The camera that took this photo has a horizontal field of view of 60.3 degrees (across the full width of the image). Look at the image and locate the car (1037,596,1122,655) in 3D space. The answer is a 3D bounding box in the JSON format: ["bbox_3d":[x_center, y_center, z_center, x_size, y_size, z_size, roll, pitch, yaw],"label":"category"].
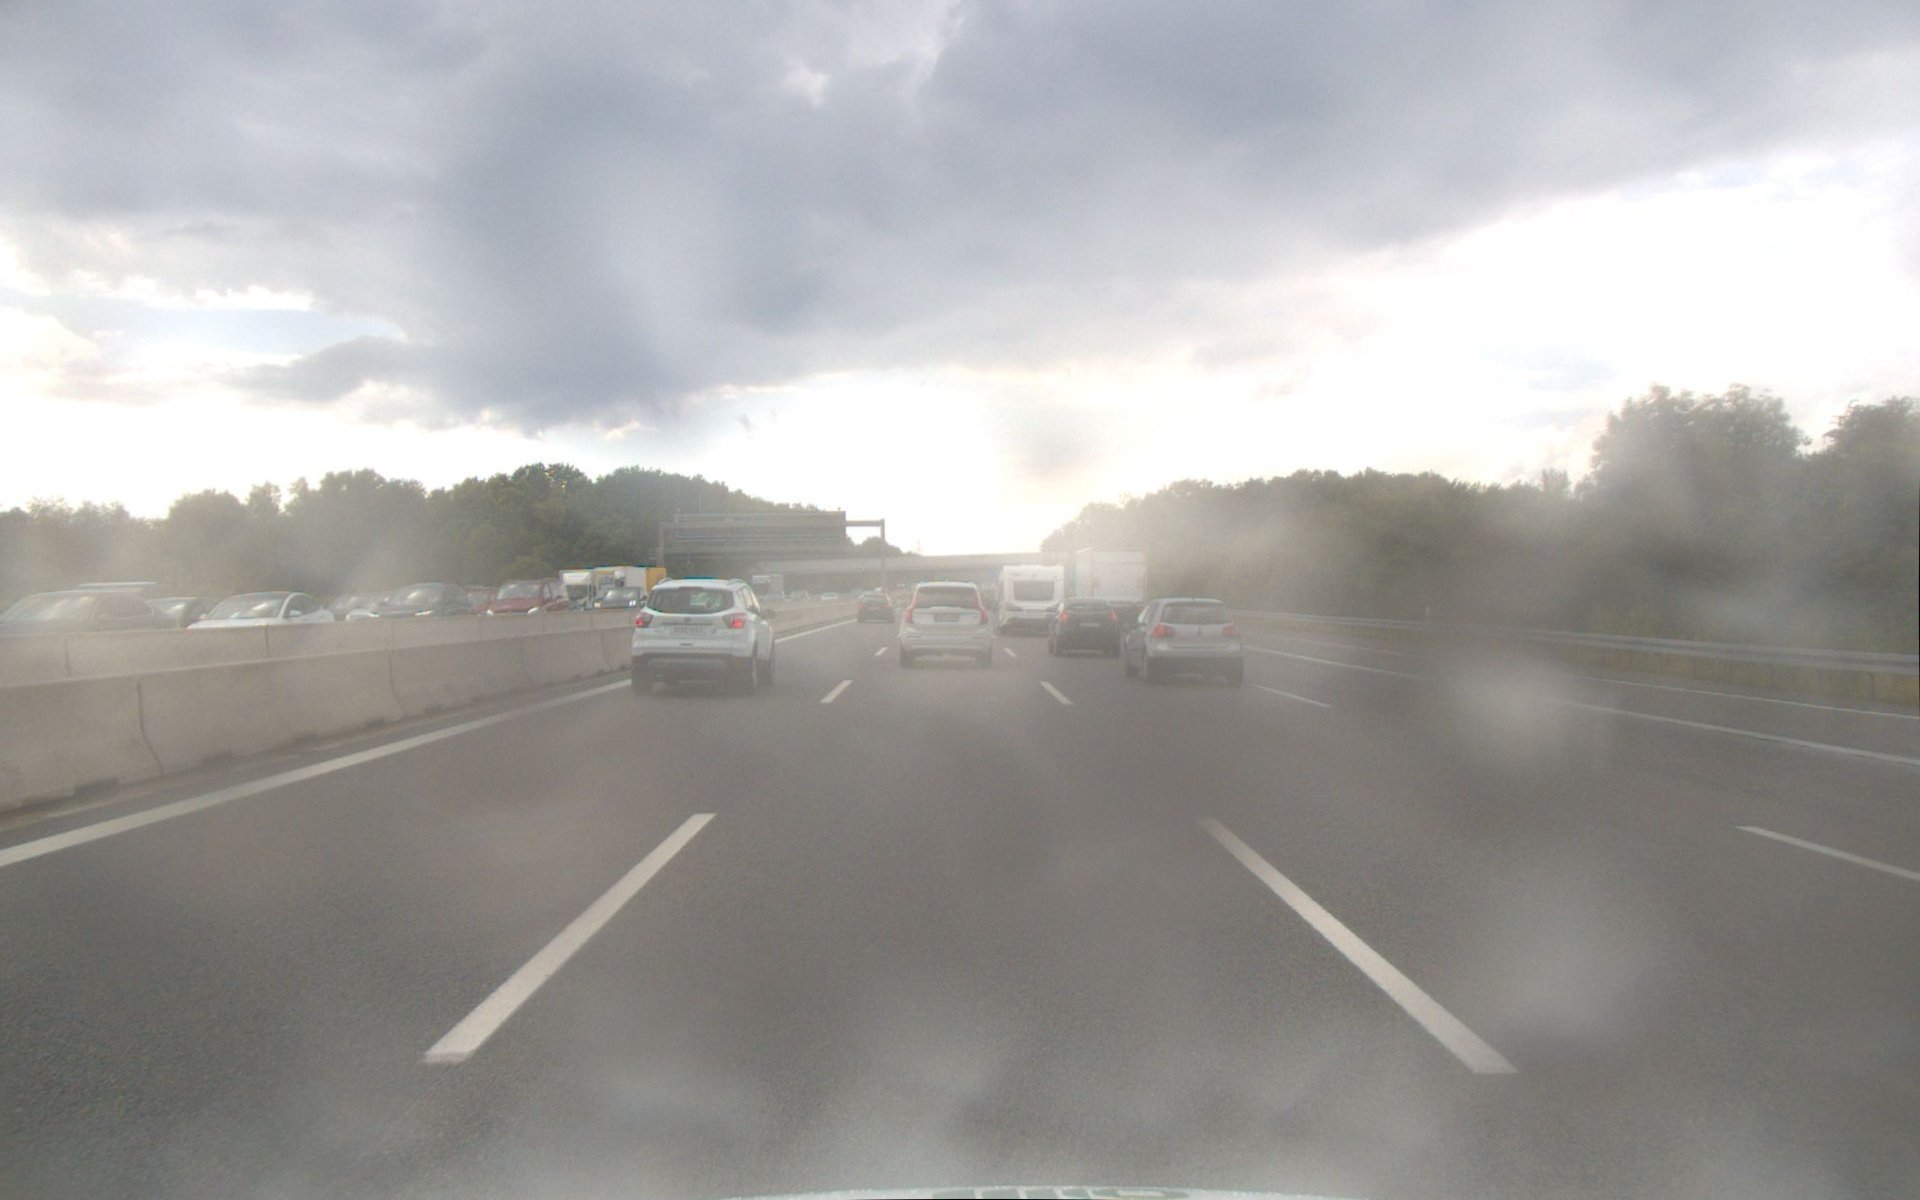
[{"bbox_3d":[3.037,0.622,42.820,1.846,1.431,4.281,0,0,-1],"label":"car"}]

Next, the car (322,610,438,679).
[{"bbox_3d":[-18.344,1.368,52.578,1.953,2.049,4.971,0,0,-1],"label":"car"}]

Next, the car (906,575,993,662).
[{"bbox_3d":[-0.254,0.366,35.476,1.744,1.746,4.352,0,0,-1],"label":"car"}]

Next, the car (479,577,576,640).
[{"bbox_3d":[-14.812,0.289,56.897,1.953,2.049,5.417,0,0,-1],"label":"car"}]

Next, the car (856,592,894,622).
[{"bbox_3d":[-4.398,0.372,86.018,1.744,1.507,4.353,0,0,0],"label":"car"}]

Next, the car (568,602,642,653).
[{"bbox_3d":[-14.048,1.053,65.697,1.953,1.937,4.503,0,0,0],"label":"car"}]

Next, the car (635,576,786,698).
[{"bbox_3d":[-3.786,0.499,25.825,1.779,1.719,4.850,0,0,-2],"label":"car"}]

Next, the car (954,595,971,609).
[{"bbox_3d":[0.310,0.297,205.121,1.843,1.715,3.998,0,0,-3],"label":"car"}]

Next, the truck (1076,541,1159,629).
[{"bbox_3d":[7.089,-0.650,75.845,3.068,3.774,9.849,0,0,1],"label":"truck"}]

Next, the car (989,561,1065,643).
[{"bbox_3d":[2.499,0.063,63.770,2.515,2.946,7.532,0,0,-1],"label":"car"}]

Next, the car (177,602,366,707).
[{"bbox_3d":[-14.407,1.075,34.967,1.953,2.049,4.971,0,0,-1],"label":"car"}]

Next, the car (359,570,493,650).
[{"bbox_3d":[-14.529,0.261,45.329,1.953,2.049,5.417,0,0,-1],"label":"car"}]

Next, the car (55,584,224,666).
[{"bbox_3d":[-21.659,0.622,43.910,1.952,2.049,4.827,0,0,2],"label":"car"}]

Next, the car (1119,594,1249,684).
[{"bbox_3d":[3.982,0.654,29.982,1.759,1.503,4.037,0,0,-1],"label":"car"}]

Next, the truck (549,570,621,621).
[{"bbox_3d":[-25.773,-0.314,114.090,2.850,3.348,9.200,0,0,0],"label":"truck"}]
